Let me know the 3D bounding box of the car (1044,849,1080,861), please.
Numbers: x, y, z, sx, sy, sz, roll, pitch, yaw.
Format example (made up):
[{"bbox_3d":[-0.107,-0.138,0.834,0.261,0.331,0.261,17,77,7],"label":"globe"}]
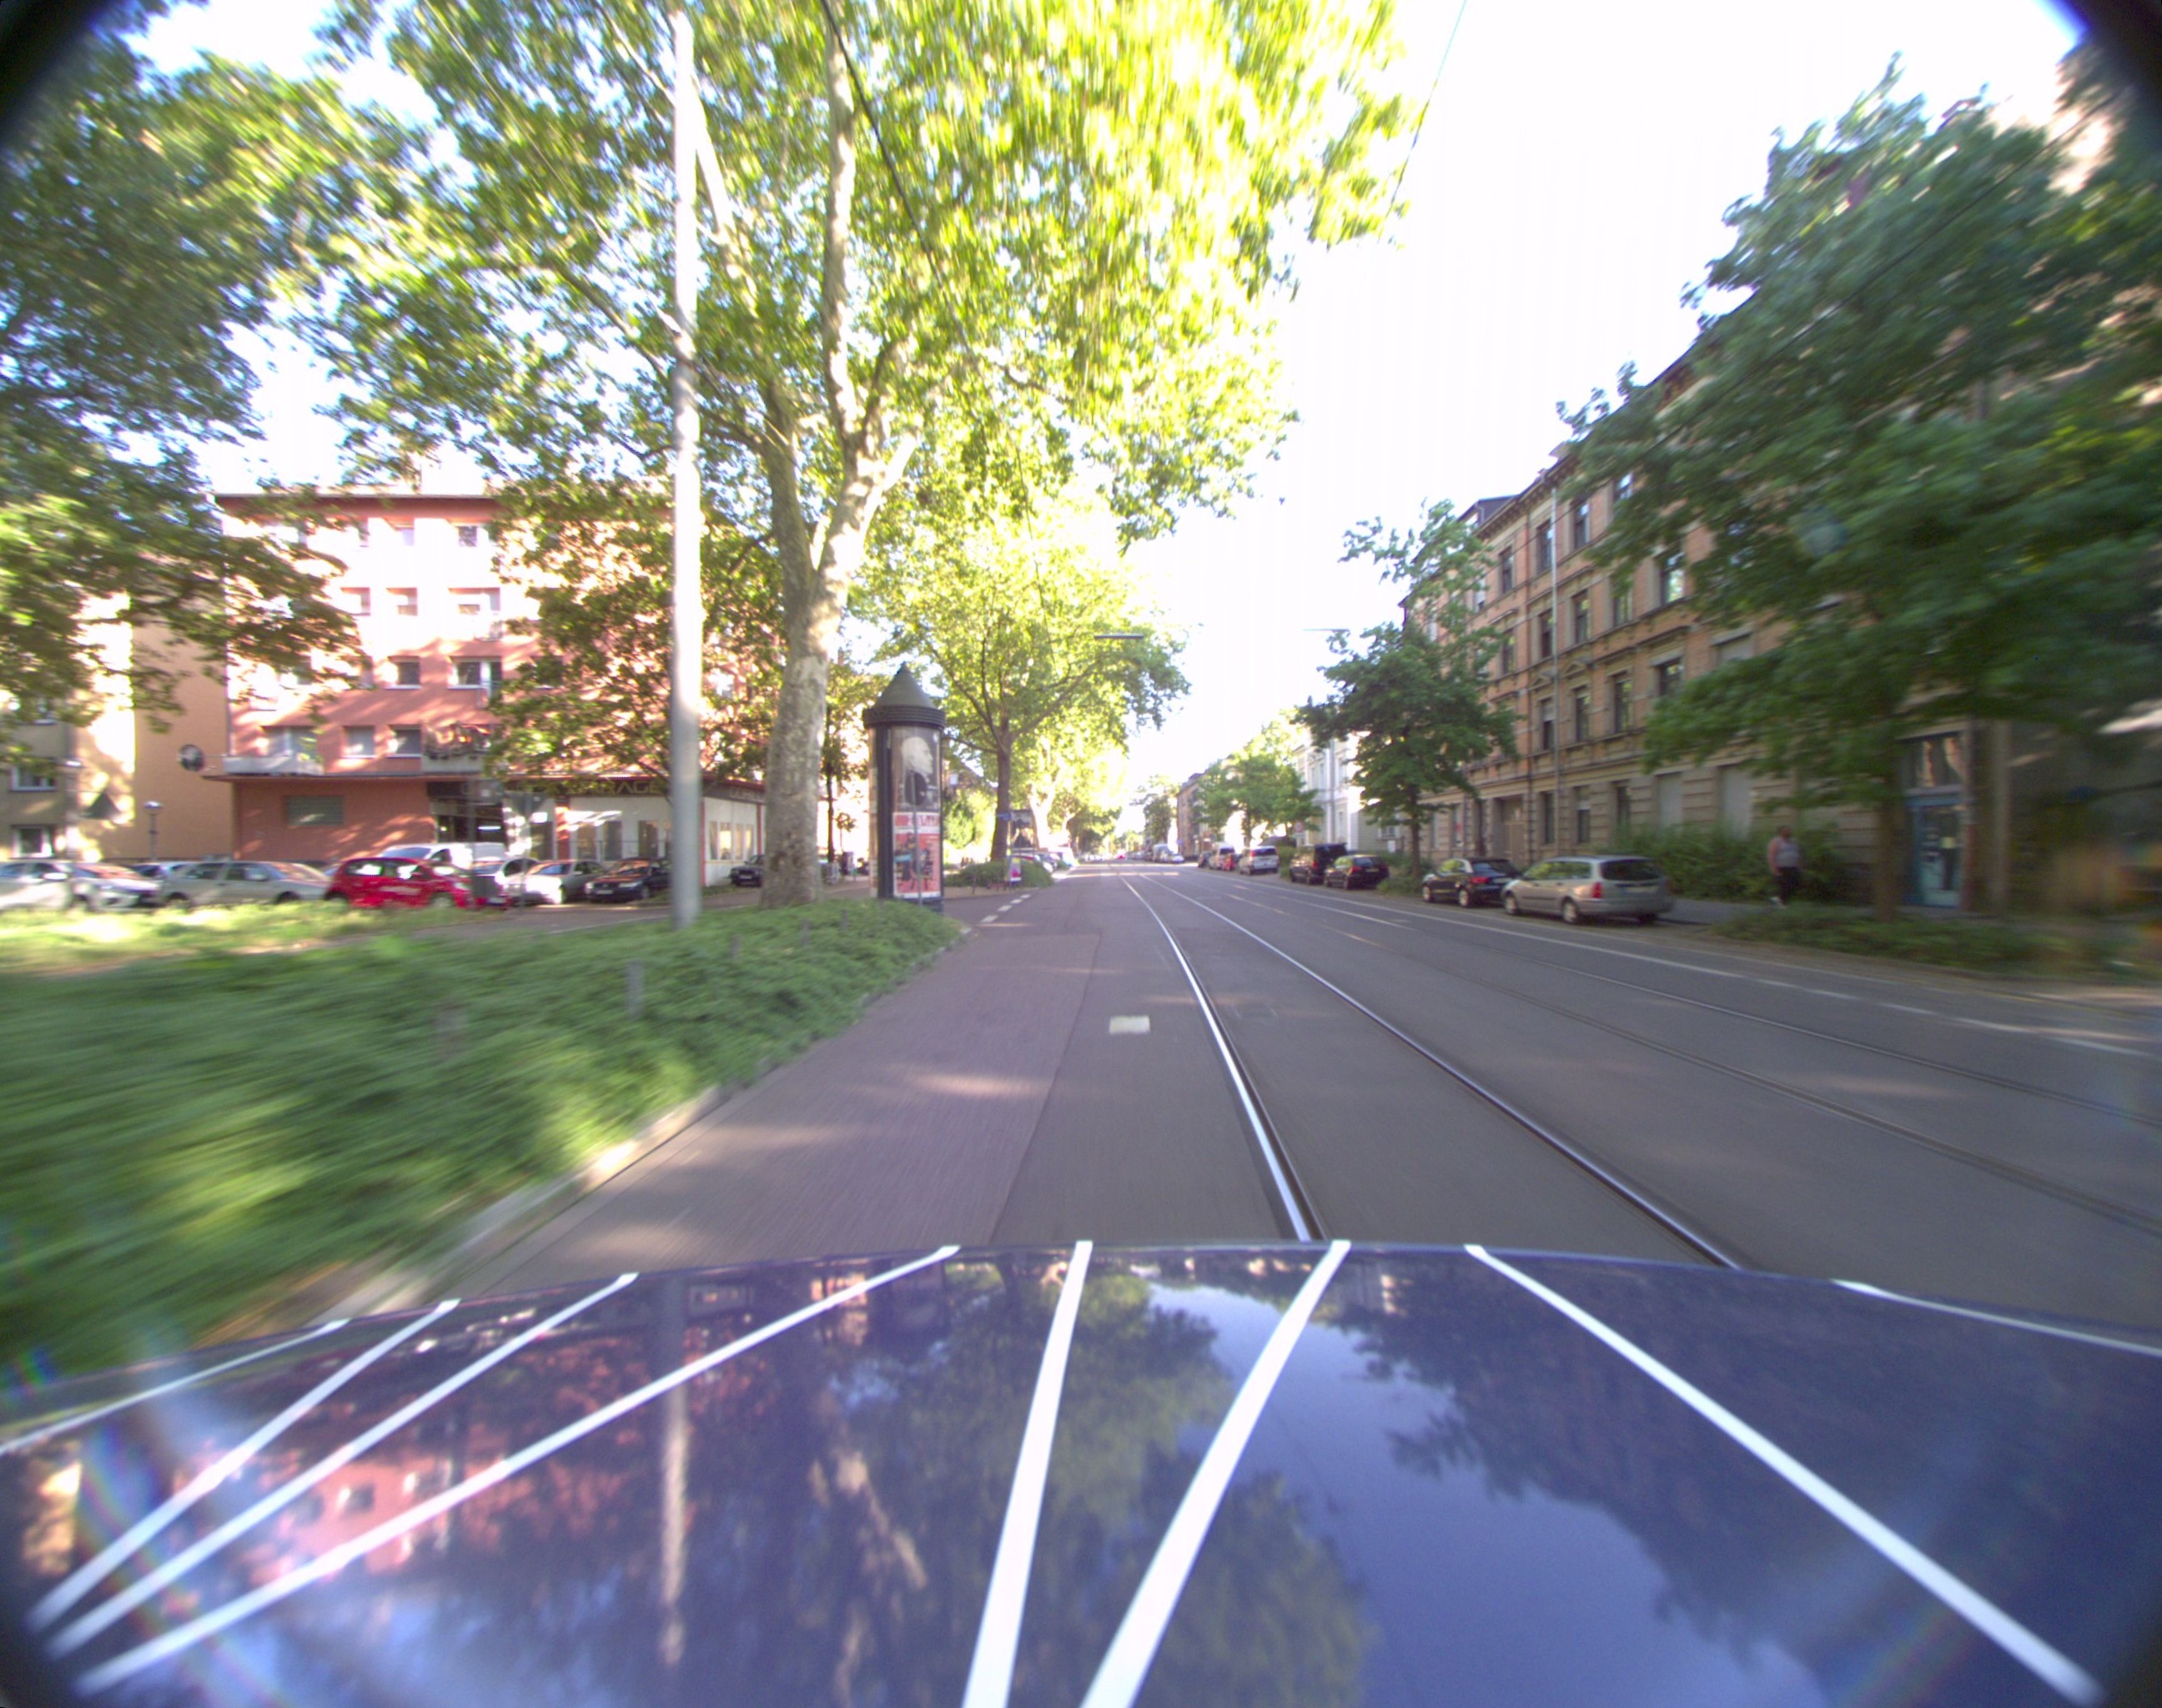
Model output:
[{"bbox_3d":[-2.633,0.201,105.807,4.810,1.621,1.893,0,0,1],"label":"car"}]

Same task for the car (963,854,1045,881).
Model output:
[{"bbox_3d":[-4.413,0.764,44.008,4.411,1.534,1.819,0,1,8],"label":"car"}]

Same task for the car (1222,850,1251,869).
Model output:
[{"bbox_3d":[12.629,0.445,61.992,1.689,1.530,3.707,0,0,1],"label":"car"}]

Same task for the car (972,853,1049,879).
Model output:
[{"bbox_3d":[-4.274,0.742,46.571,4.413,1.534,1.952,0,0,4],"label":"car"}]

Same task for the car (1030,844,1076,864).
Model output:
[{"bbox_3d":[-2.967,0.003,82.104,4.859,2.002,2.194,1,0,-2],"label":"car"}]

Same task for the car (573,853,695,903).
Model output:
[{"bbox_3d":[-15.458,0.765,26.594,1.794,1.565,4.576,0,0,-4],"label":"car"}]

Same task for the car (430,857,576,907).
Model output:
[{"bbox_3d":[-20.160,0.921,26.812,1.794,1.565,4.576,0,0,-2],"label":"car"}]

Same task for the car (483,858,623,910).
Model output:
[{"bbox_3d":[-17.692,0.931,25.769,1.794,1.565,4.576,0,0,-4],"label":"car"}]

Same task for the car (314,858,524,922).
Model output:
[{"bbox_3d":[-15.880,0.838,18.366,3.547,1.444,1.683,0,0,-1],"label":"car"}]

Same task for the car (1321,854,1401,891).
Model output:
[{"bbox_3d":[11.865,0.723,32.463,1.857,1.450,4.270,0,0,0],"label":"car"}]

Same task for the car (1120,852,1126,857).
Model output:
[{"bbox_3d":[14.130,0.098,253.912,1.769,1.448,3.586,0,0,2],"label":"car"}]

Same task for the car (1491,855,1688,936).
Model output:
[{"bbox_3d":[11.260,0.818,17.264,1.703,1.541,4.537,-1,0,4],"label":"car"}]

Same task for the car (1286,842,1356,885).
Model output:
[{"bbox_3d":[11.891,0.435,37.988,1.998,2.002,4.834,0,0,0],"label":"car"}]

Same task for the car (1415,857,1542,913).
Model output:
[{"bbox_3d":[11.411,0.824,22.109,1.662,1.437,3.949,-1,0,1],"label":"car"}]

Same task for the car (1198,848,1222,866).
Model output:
[{"bbox_3d":[12.901,0.268,76.350,1.997,1.680,4.262,0,0,4],"label":"car"}]

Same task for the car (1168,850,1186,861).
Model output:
[{"bbox_3d":[13.078,0.209,103.658,1.776,1.484,4.940,-2,0,-1],"label":"car"}]

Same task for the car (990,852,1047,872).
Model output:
[{"bbox_3d":[-4.853,0.630,59.581,4.209,1.546,1.818,0,1,4],"label":"car"}]

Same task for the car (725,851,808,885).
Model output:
[{"bbox_3d":[-13.941,0.572,33.967,1.753,1.426,4.468,0,0,2],"label":"car"}]

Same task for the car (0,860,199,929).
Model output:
[{"bbox_3d":[-24.603,0.956,18.634,3.927,1.572,1.683,0,0,-1],"label":"car"}]

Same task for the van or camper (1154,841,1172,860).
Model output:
[{"bbox_3d":[13.641,-0.646,126.797,2.423,2.960,5.991,-4,0,2],"label":"van or camper"}]

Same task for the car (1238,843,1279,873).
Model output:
[{"bbox_3d":[12.102,0.236,52.131,1.848,1.977,4.988,0,0,2],"label":"car"}]

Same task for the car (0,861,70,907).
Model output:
[{"bbox_3d":[-38.712,1.069,26.162,1.794,1.565,4.576,0,0,-2],"label":"car"}]

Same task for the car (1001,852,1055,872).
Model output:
[{"bbox_3d":[-4.283,0.627,61.862,4.209,1.565,1.818,0,1,4],"label":"car"}]

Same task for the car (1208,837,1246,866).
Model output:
[{"bbox_3d":[12.816,-0.230,67.055,2.310,2.493,5.343,0,0,0],"label":"car"}]

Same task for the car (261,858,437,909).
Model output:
[{"bbox_3d":[-25.036,0.929,26.267,1.794,1.565,4.576,0,0,-2],"label":"car"}]

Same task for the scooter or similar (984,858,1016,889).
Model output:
[{"bbox_3d":[-3.230,0.766,30.294,1.211,1.233,0.569,0,1,0],"label":"scooter or similar"}]

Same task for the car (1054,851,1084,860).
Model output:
[{"bbox_3d":[-1.842,0.274,121.444,4.610,1.485,1.894,0,0,4],"label":"car"}]

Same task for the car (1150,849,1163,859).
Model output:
[{"bbox_3d":[13.765,-0.028,138.901,1.791,1.743,4.435,-2,0,0],"label":"car"}]

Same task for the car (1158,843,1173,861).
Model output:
[{"bbox_3d":[13.322,-0.335,120.124,1.927,2.730,4.546,-5,0,2],"label":"car"}]

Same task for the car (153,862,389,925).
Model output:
[{"bbox_3d":[-19.790,0.946,18.690,3.927,1.444,1.683,0,0,-1],"label":"car"}]

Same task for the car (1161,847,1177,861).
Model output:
[{"bbox_3d":[13.209,-0.056,114.219,1.927,2.034,4.941,-2,0,0],"label":"car"}]

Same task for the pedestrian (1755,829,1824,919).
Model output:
[{"bbox_3d":[14.872,0.409,15.966,0.743,1.836,0.728,-2,1,0],"label":"pedestrian"}]

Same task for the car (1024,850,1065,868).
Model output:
[{"bbox_3d":[-3.511,0.471,73.492,3.791,1.609,1.790,1,0,-1],"label":"car"}]

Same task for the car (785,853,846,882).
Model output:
[{"bbox_3d":[-13.900,0.693,40.021,1.753,1.426,3.950,0,0,2],"label":"car"}]

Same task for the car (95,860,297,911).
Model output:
[{"bbox_3d":[-30.582,1.015,26.530,1.794,1.565,4.576,0,0,-2],"label":"car"}]

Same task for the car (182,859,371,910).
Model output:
[{"bbox_3d":[-27.633,0.971,26.377,1.794,1.565,4.576,0,0,-2],"label":"car"}]

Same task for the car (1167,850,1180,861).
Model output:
[{"bbox_3d":[13.239,0.232,108.387,1.574,1.484,2.883,-2,0,2],"label":"car"}]

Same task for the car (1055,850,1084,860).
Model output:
[{"bbox_3d":[-1.843,0.163,125.787,4.610,1.631,1.894,0,0,4],"label":"car"}]

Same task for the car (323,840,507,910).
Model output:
[{"bbox_3d":[-22.512,0.649,26.038,1.917,2.171,5.083,0,0,-2],"label":"car"}]

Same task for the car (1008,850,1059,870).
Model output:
[{"bbox_3d":[-4.016,0.476,64.253,4.211,1.609,1.878,0,1,-1],"label":"car"}]

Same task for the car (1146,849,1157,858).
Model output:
[{"bbox_3d":[14.199,-0.106,153.845,1.791,1.660,4.435,-2,0,0],"label":"car"}]
